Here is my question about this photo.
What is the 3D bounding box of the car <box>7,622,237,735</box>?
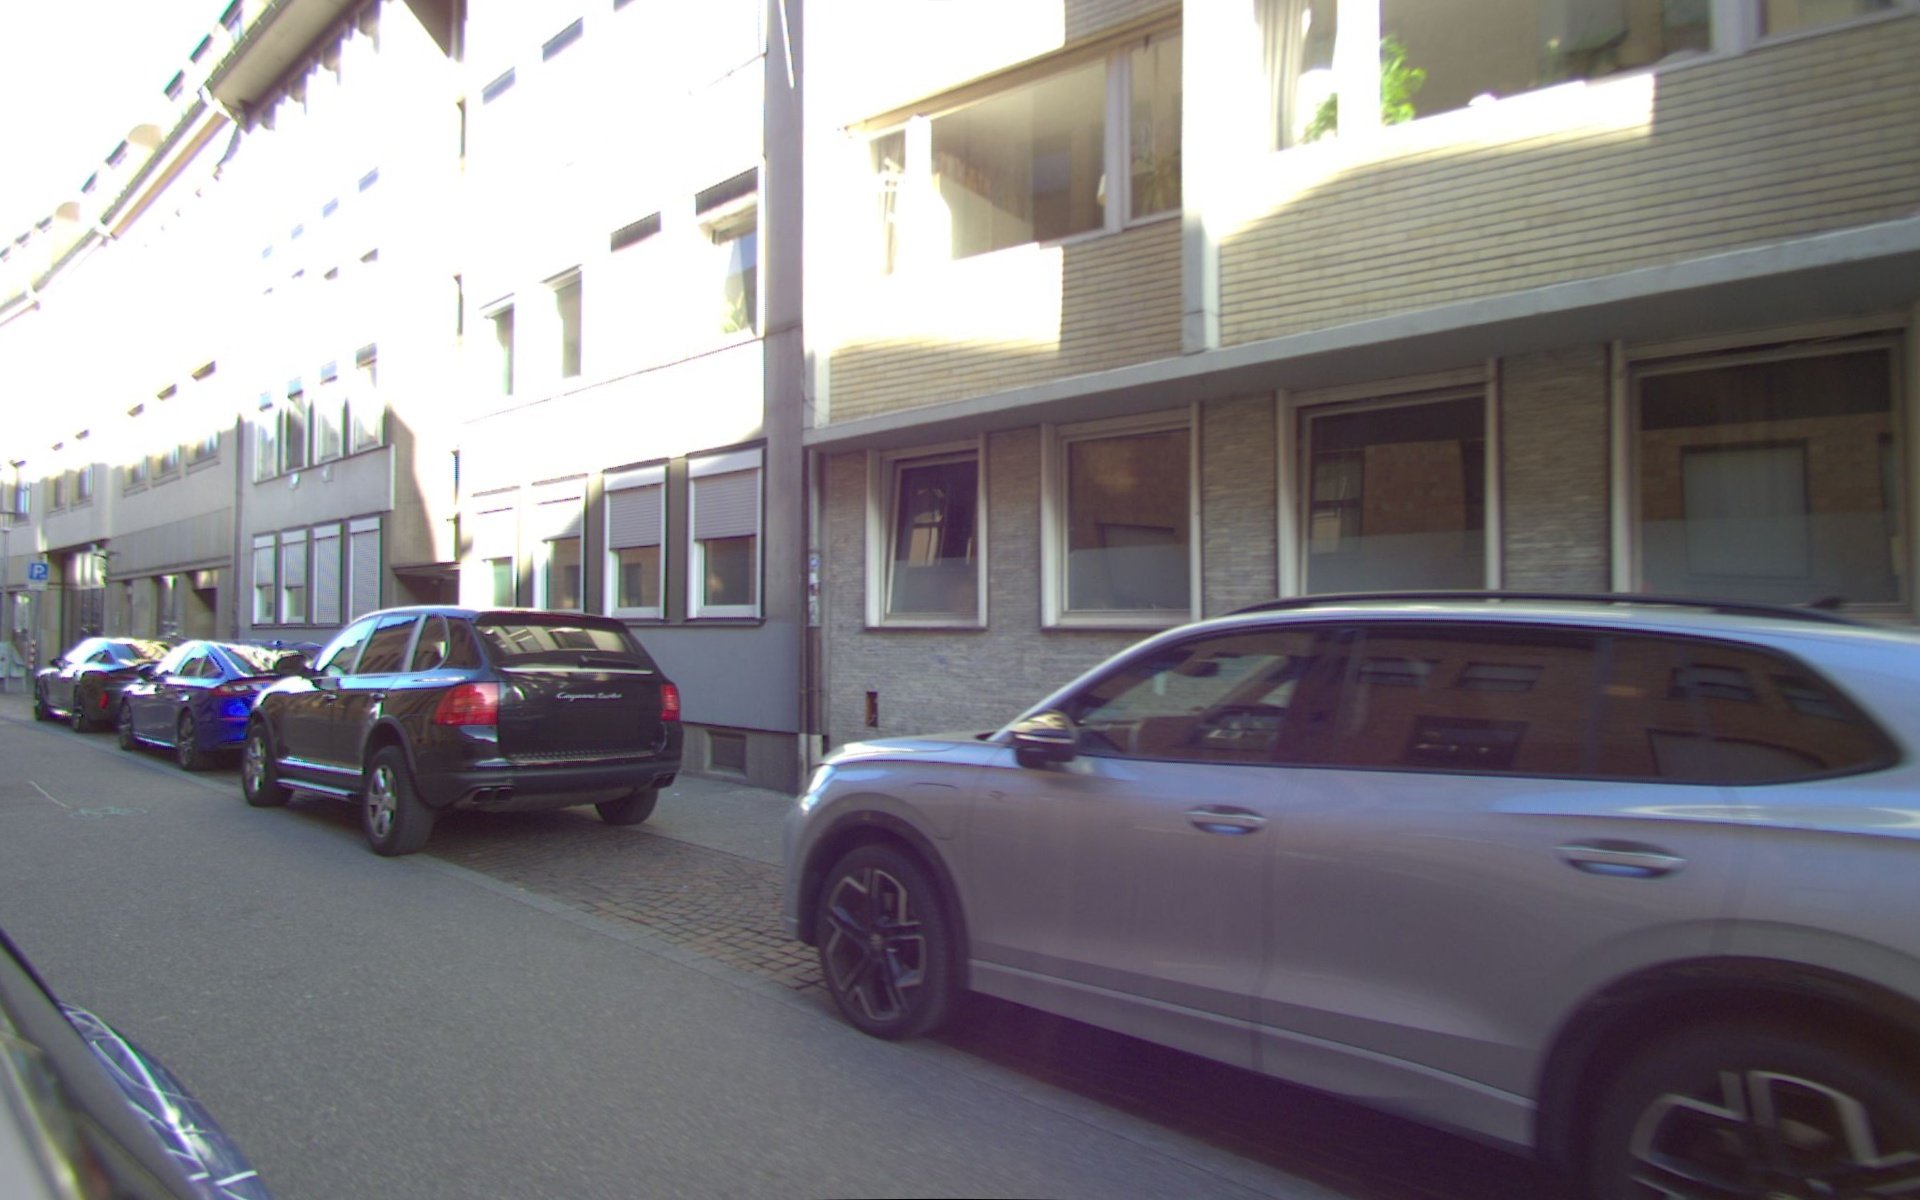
[{"bbox_3d":[-13.387,1.183,16.070,4.724,1.542,1.871,-2,-5,39],"label":"car"}]

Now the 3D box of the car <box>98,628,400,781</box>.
[{"bbox_3d":[-8.763,1.141,12.341,4.335,1.542,1.871,-2,-3,39],"label":"car"}]

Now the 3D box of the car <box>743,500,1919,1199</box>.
[{"bbox_3d":[1.371,0.753,3.507,4.387,1.755,1.870,-2,-3,40],"label":"car"}]

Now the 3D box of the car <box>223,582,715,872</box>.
[{"bbox_3d":[-4.117,0.827,8.124,4.550,1.688,1.870,-2,-3,41],"label":"car"}]
